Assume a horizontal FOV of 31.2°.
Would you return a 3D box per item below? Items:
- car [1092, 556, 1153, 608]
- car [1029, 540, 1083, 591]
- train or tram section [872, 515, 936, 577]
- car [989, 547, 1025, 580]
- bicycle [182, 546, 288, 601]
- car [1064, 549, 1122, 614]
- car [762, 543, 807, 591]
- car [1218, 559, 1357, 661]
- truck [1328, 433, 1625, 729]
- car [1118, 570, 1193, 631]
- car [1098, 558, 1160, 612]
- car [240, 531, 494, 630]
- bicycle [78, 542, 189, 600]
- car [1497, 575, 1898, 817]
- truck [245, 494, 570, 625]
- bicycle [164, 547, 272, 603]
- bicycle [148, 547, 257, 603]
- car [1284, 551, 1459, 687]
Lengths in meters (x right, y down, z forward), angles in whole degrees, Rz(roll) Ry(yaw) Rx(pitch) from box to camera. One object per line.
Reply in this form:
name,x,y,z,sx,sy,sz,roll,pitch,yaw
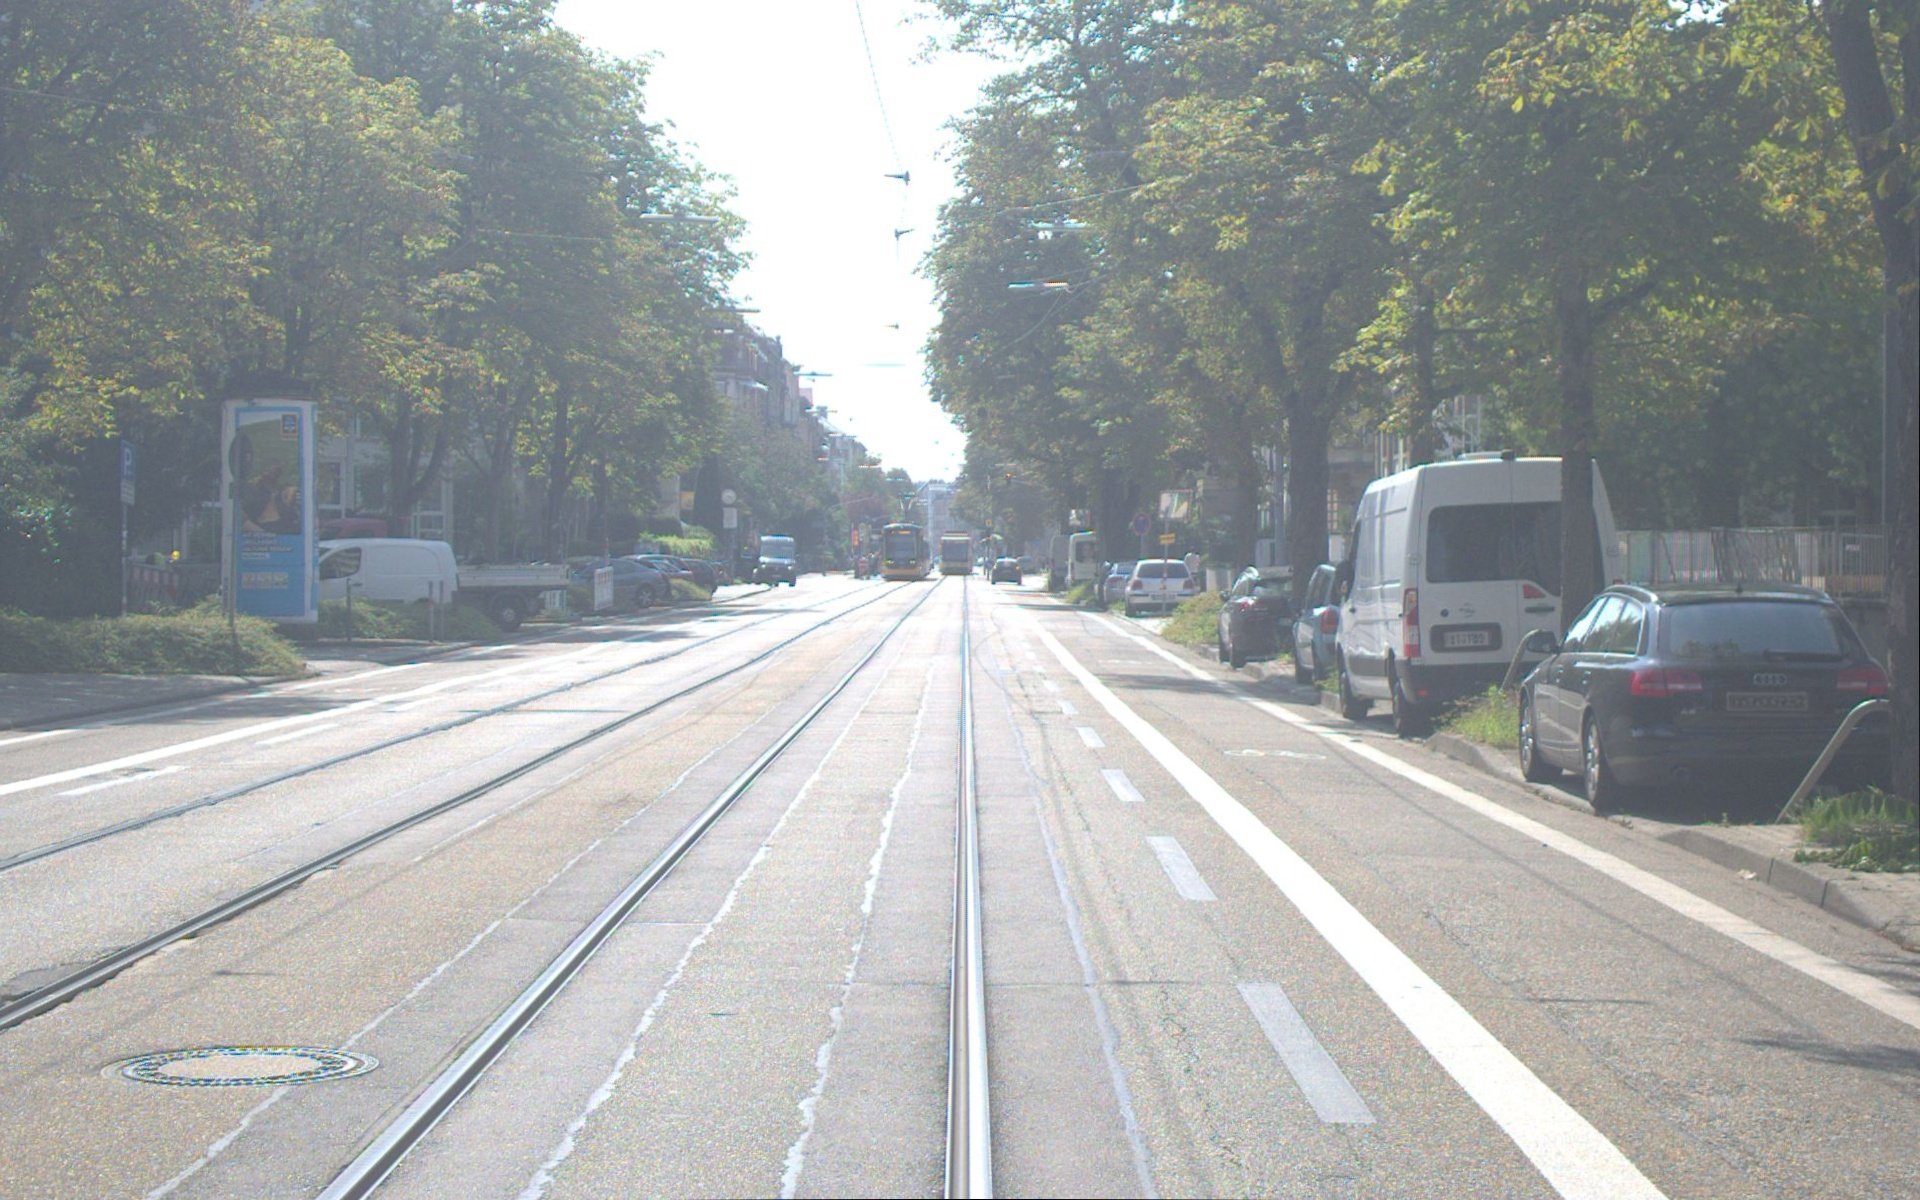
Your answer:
car,4.979,-0.562,105.754,1.794,1.571,4.000,0,1,2
car,4.293,-1.555,154.452,1.993,2.226,4.001,0,1,-5
train or tram section,-3.398,-3.321,211.606,3.497,3.691,12.412,1,1,1
car,2.652,-2.044,194.168,1.993,1.795,4.000,1,0,1
bicycle,-16.409,-0.604,77.783,2.340,1.165,0.562,2,0,17
car,4.921,-0.693,127.263,1.993,2.357,4.000,1,0,1
car,-9.064,-1.686,177.158,2.242,2.433,4.000,1,0,-3
car,4.928,0.119,52.236,1.674,1.453,4.664,-1,1,0
truck,4.847,-0.189,33.065,1.917,2.590,5.593,0,0,-1
car,4.859,-0.001,85.658,1.791,1.441,3.732,-1,0,3
car,4.868,-0.438,99.327,1.641,1.506,3.641,1,0,0
car,-10.849,-0.371,63.069,4.274,1.766,1.824,-1,1,-43
bicycle,-17.747,-0.622,73.815,2.341,1.165,0.601,2,0,20
car,4.784,0.558,22.959,1.685,1.435,4.803,0,0,1
truck,-10.681,-0.789,66.774,5.951,2.426,2.150,-1,1,-39
bicycle,-16.647,-0.565,77.086,2.340,1.165,0.621,2,0,18
bicycle,-16.844,-0.555,76.411,2.340,1.165,0.621,2,0,18
car,5.091,0.216,42.962,1.674,1.574,4.171,-1,0,0
